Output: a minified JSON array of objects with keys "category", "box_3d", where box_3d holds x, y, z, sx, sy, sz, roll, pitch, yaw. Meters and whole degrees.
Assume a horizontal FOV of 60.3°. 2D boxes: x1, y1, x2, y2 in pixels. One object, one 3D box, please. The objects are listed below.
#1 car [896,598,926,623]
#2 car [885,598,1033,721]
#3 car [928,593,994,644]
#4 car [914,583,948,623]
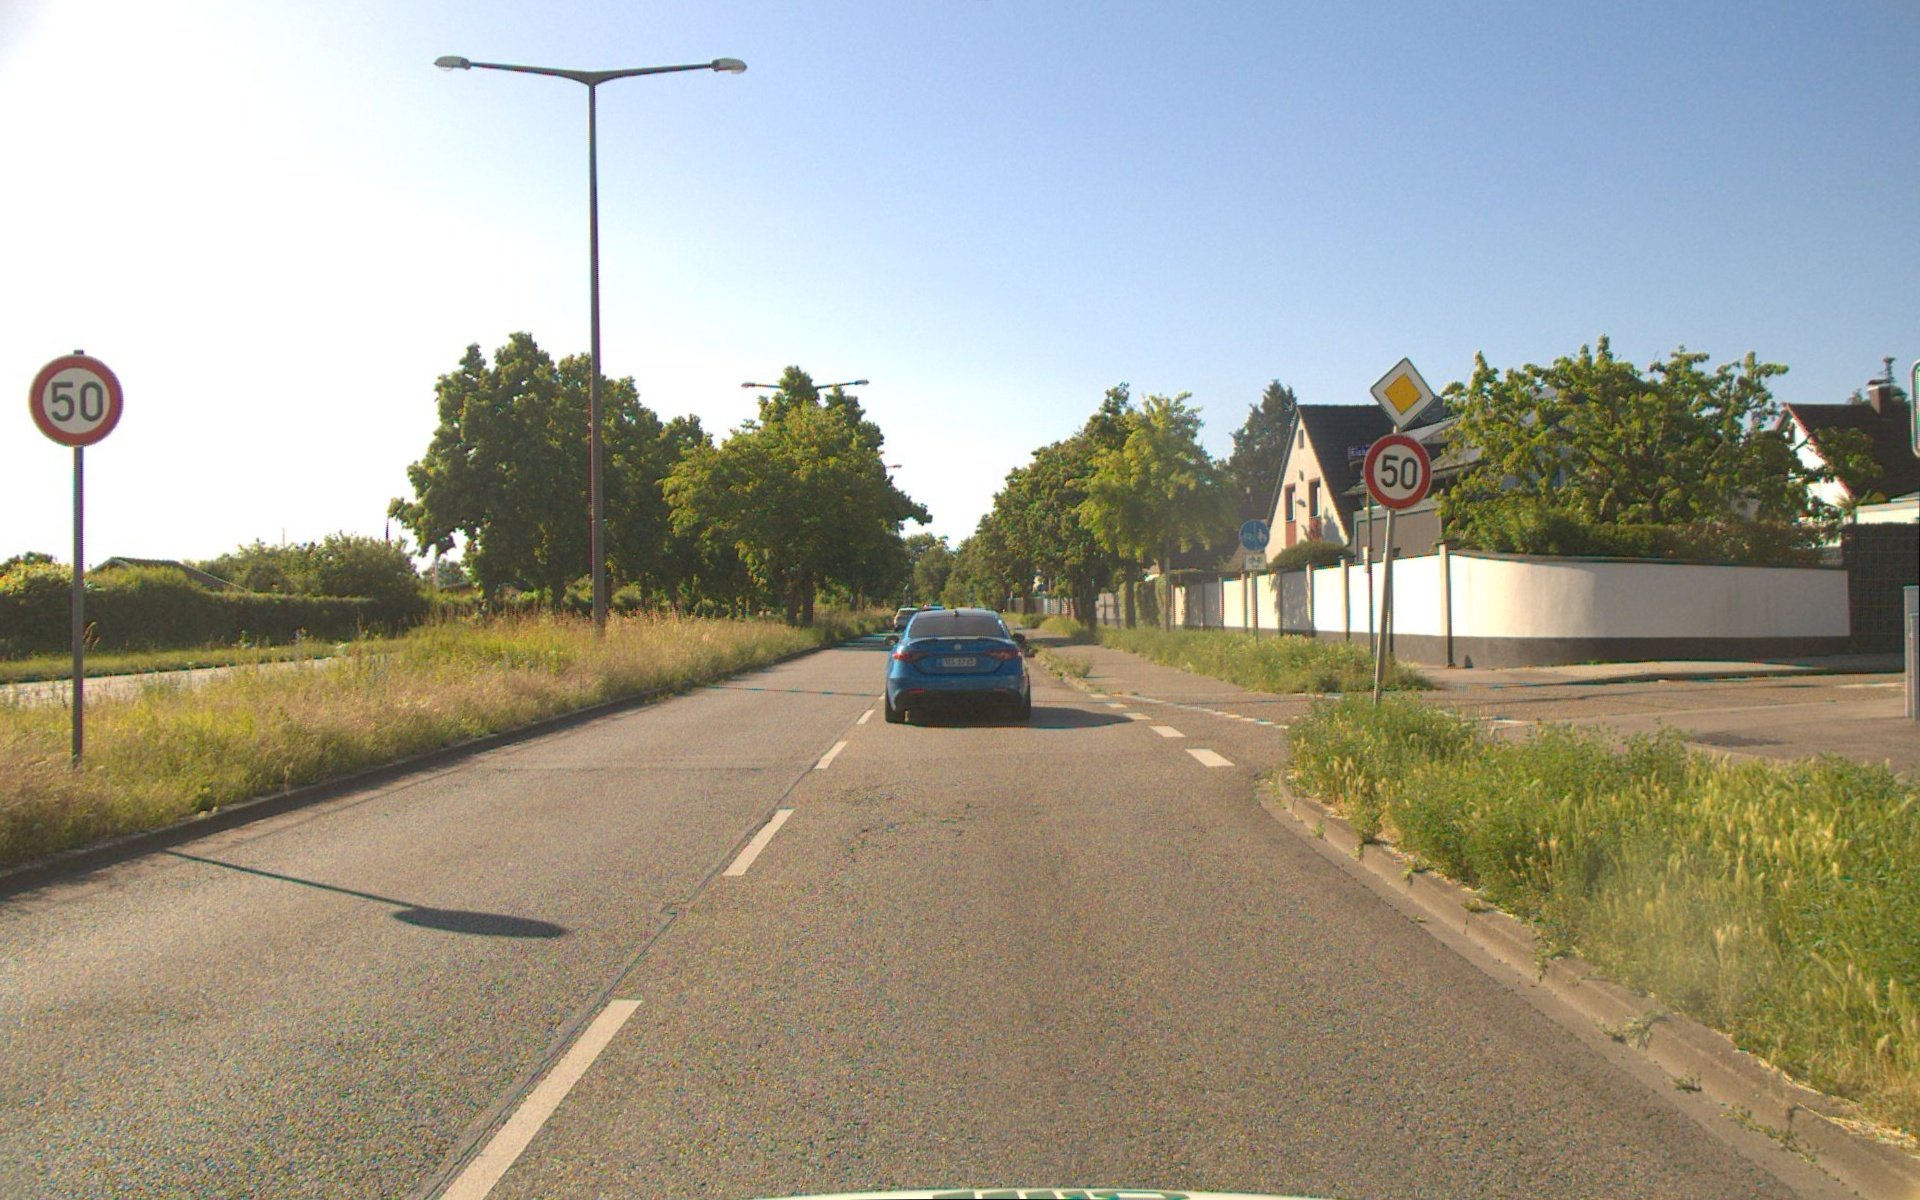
[{"category":"car","box_3d":[-3.103,0.633,104.182,1.877,1.539,4.066,0,0,-2]},{"category":"car","box_3d":[0.015,0.725,22.283,1.800,1.500,4.185,0,0,1]},{"category":"car","box_3d":[-0.018,0.578,54.481,1.877,1.607,4.178,0,0,-4]},{"category":"car","box_3d":[-1.507,0.183,87.631,1.756,2.049,3.999,0,0,-1]}]
